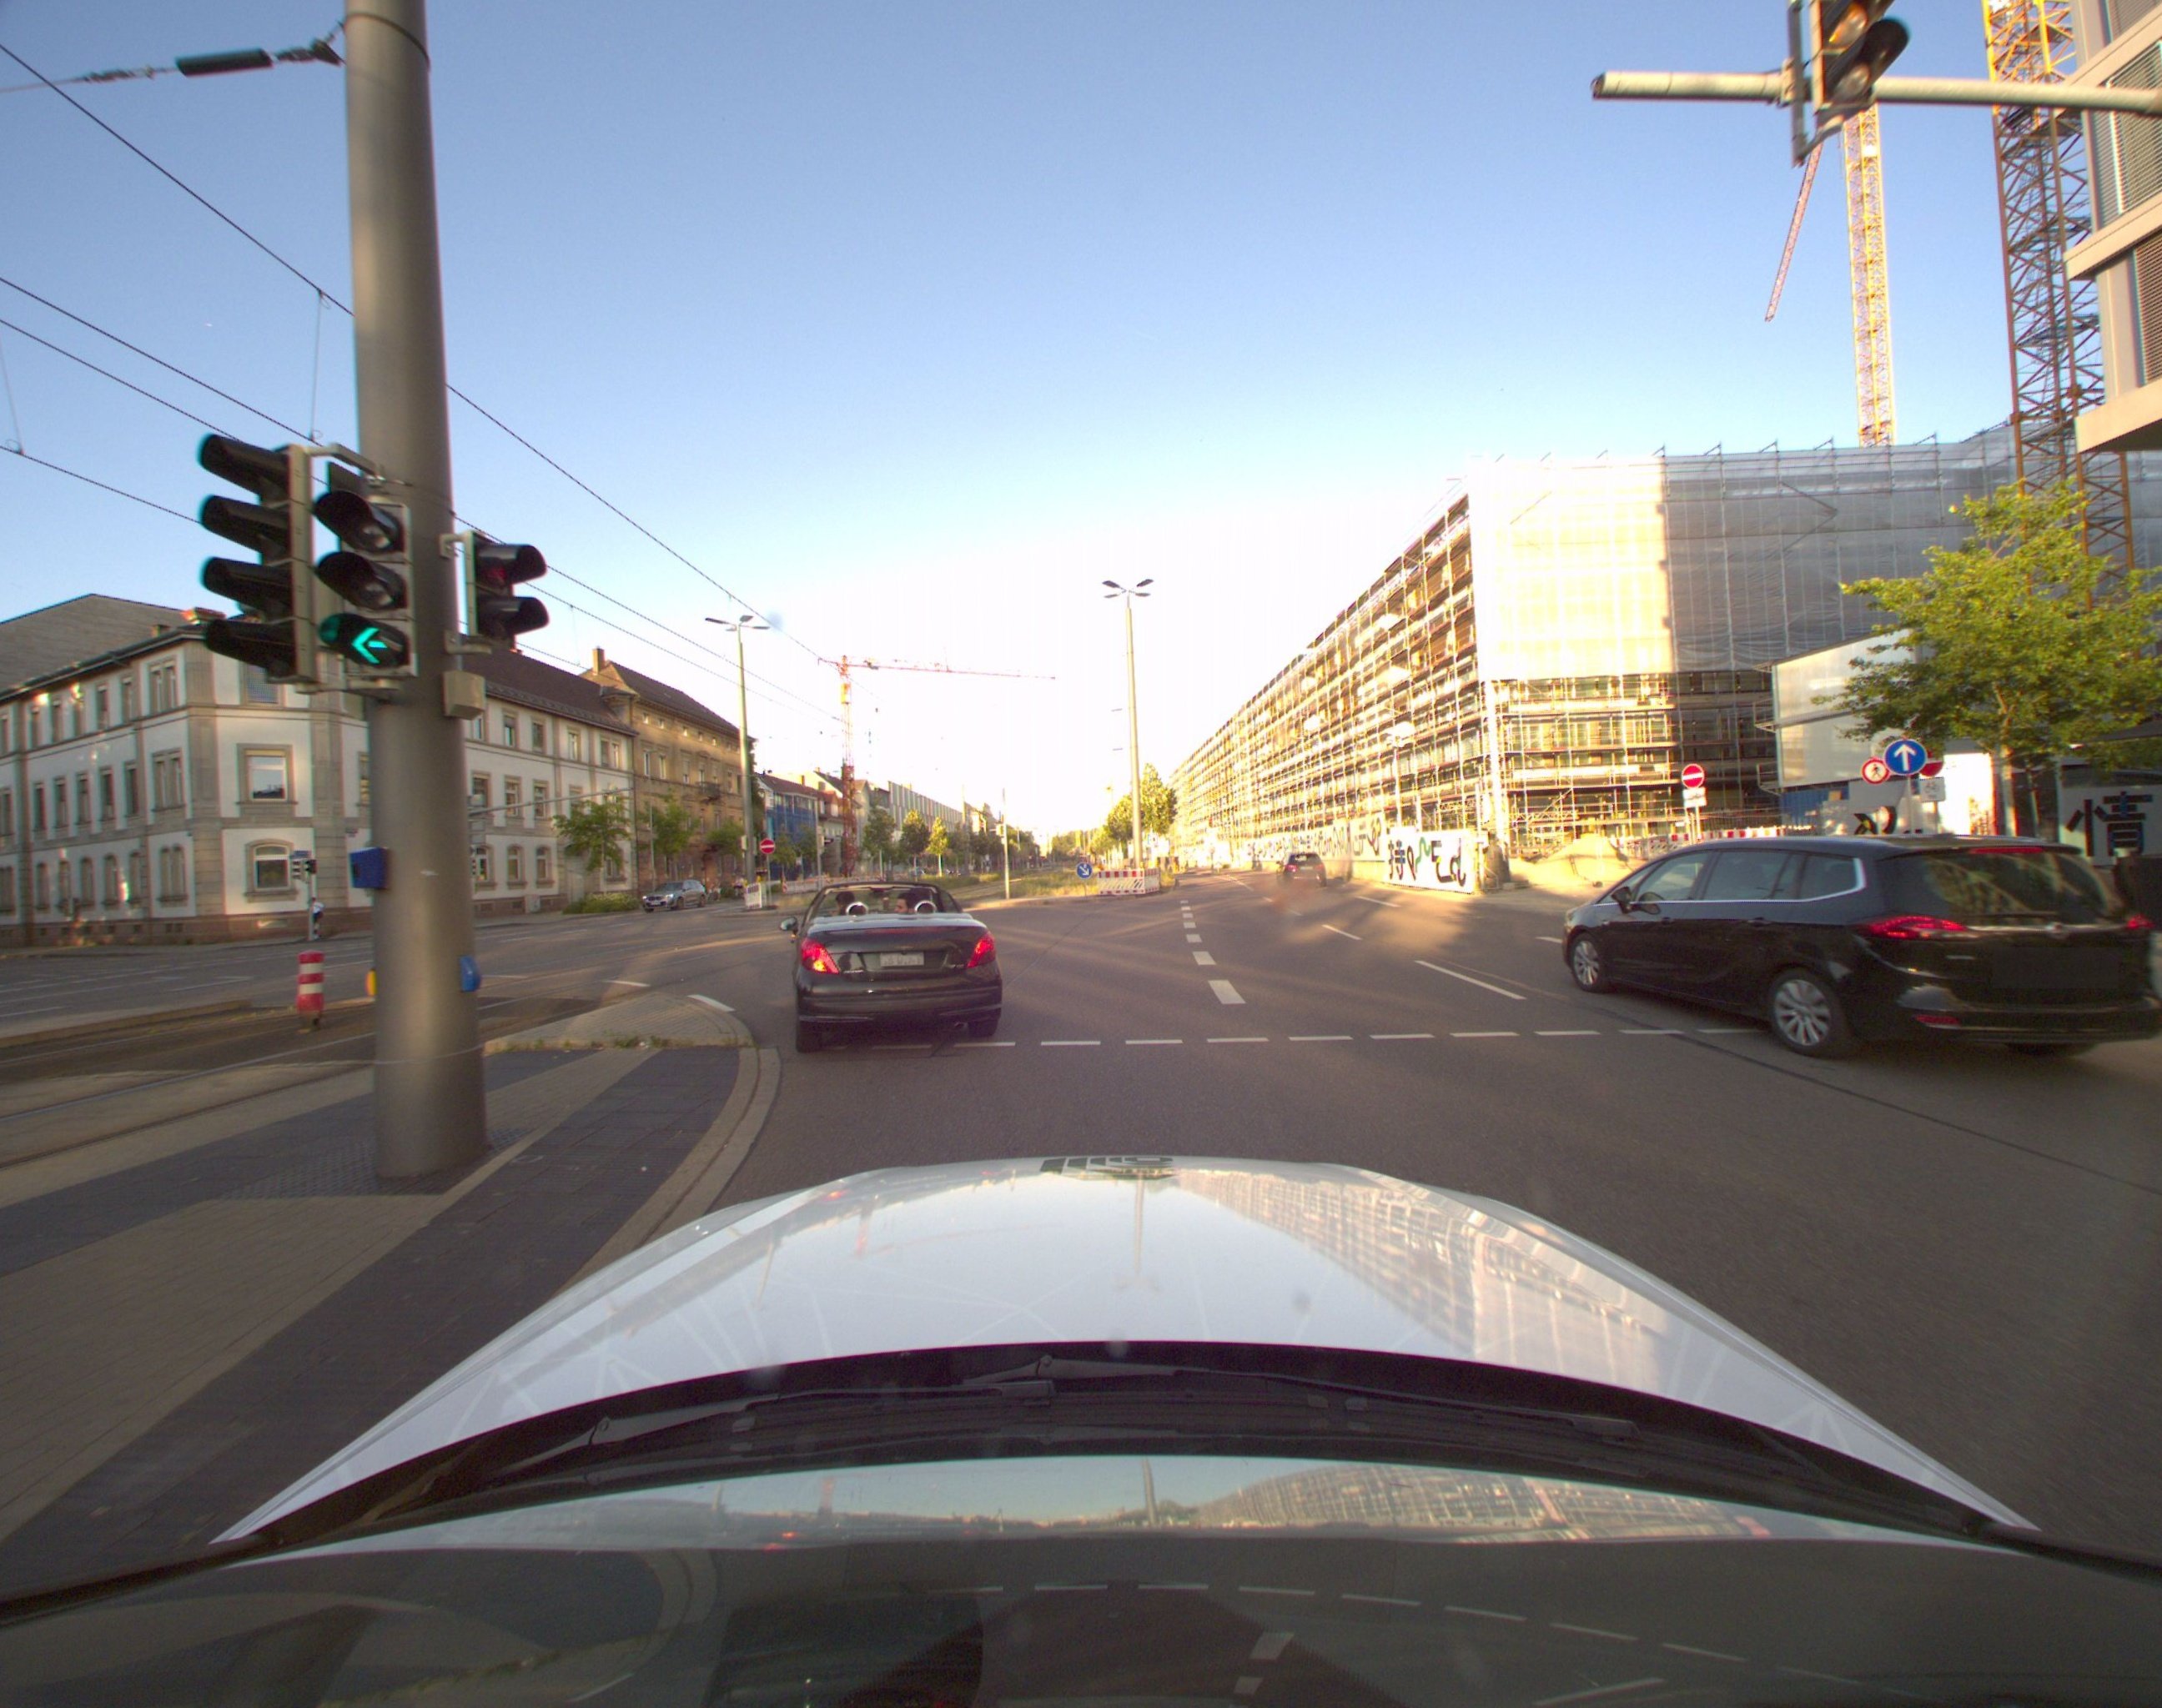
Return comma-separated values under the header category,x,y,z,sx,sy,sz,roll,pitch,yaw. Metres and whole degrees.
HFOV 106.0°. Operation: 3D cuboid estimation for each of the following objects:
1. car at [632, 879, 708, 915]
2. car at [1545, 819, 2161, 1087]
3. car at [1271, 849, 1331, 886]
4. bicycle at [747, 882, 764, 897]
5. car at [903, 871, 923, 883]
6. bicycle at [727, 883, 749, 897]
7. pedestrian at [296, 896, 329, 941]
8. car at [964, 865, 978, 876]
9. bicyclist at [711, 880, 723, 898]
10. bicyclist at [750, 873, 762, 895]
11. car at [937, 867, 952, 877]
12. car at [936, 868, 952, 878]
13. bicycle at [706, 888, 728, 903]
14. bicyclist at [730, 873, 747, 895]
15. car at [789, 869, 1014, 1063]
category,x,y,z,sx,sy,sz,roll,pitch,yaw
car,-22.462,2.310,44.692,1.987,1.580,4.124,-4,0,0
car,6.126,0.599,7.102,1.815,1.598,4.370,-1,0,3
car,9.705,0.562,36.261,1.811,1.519,4.800,-1,0,6
bicycle,-23.388,2.556,58.587,0.588,0.975,1.556,-1,0,1
car,-21.747,2.943,105.608,1.652,1.431,3.895,-1,0,1
bicycle,-24.469,2.561,58.170,0.768,0.945,1.642,-1,0,5
pedestrian,-30.462,2.544,32.278,0.815,1.716,0.697,0,0,-32
car,-18.996,2.834,140.725,1.652,1.964,4.267,-1,0,1
bicyclist,-25.133,2.414,56.202,0.586,1.266,0.461,-1,0,10
bicyclist,-23.391,2.139,58.590,0.588,1.569,0.711,-1,0,1
car,-22.527,2.987,134.661,1.652,1.431,3.895,-1,0,1
car,-21.443,2.982,127.466,1.652,1.431,3.895,-1,0,1
bicycle,-25.129,2.847,56.198,0.586,0.989,1.561,-1,0,11
bicyclist,-24.470,2.126,58.180,0.768,1.571,0.794,-1,0,5
car,-1.968,0.872,8.186,1.679,1.352,3.975,-1,0,-18
